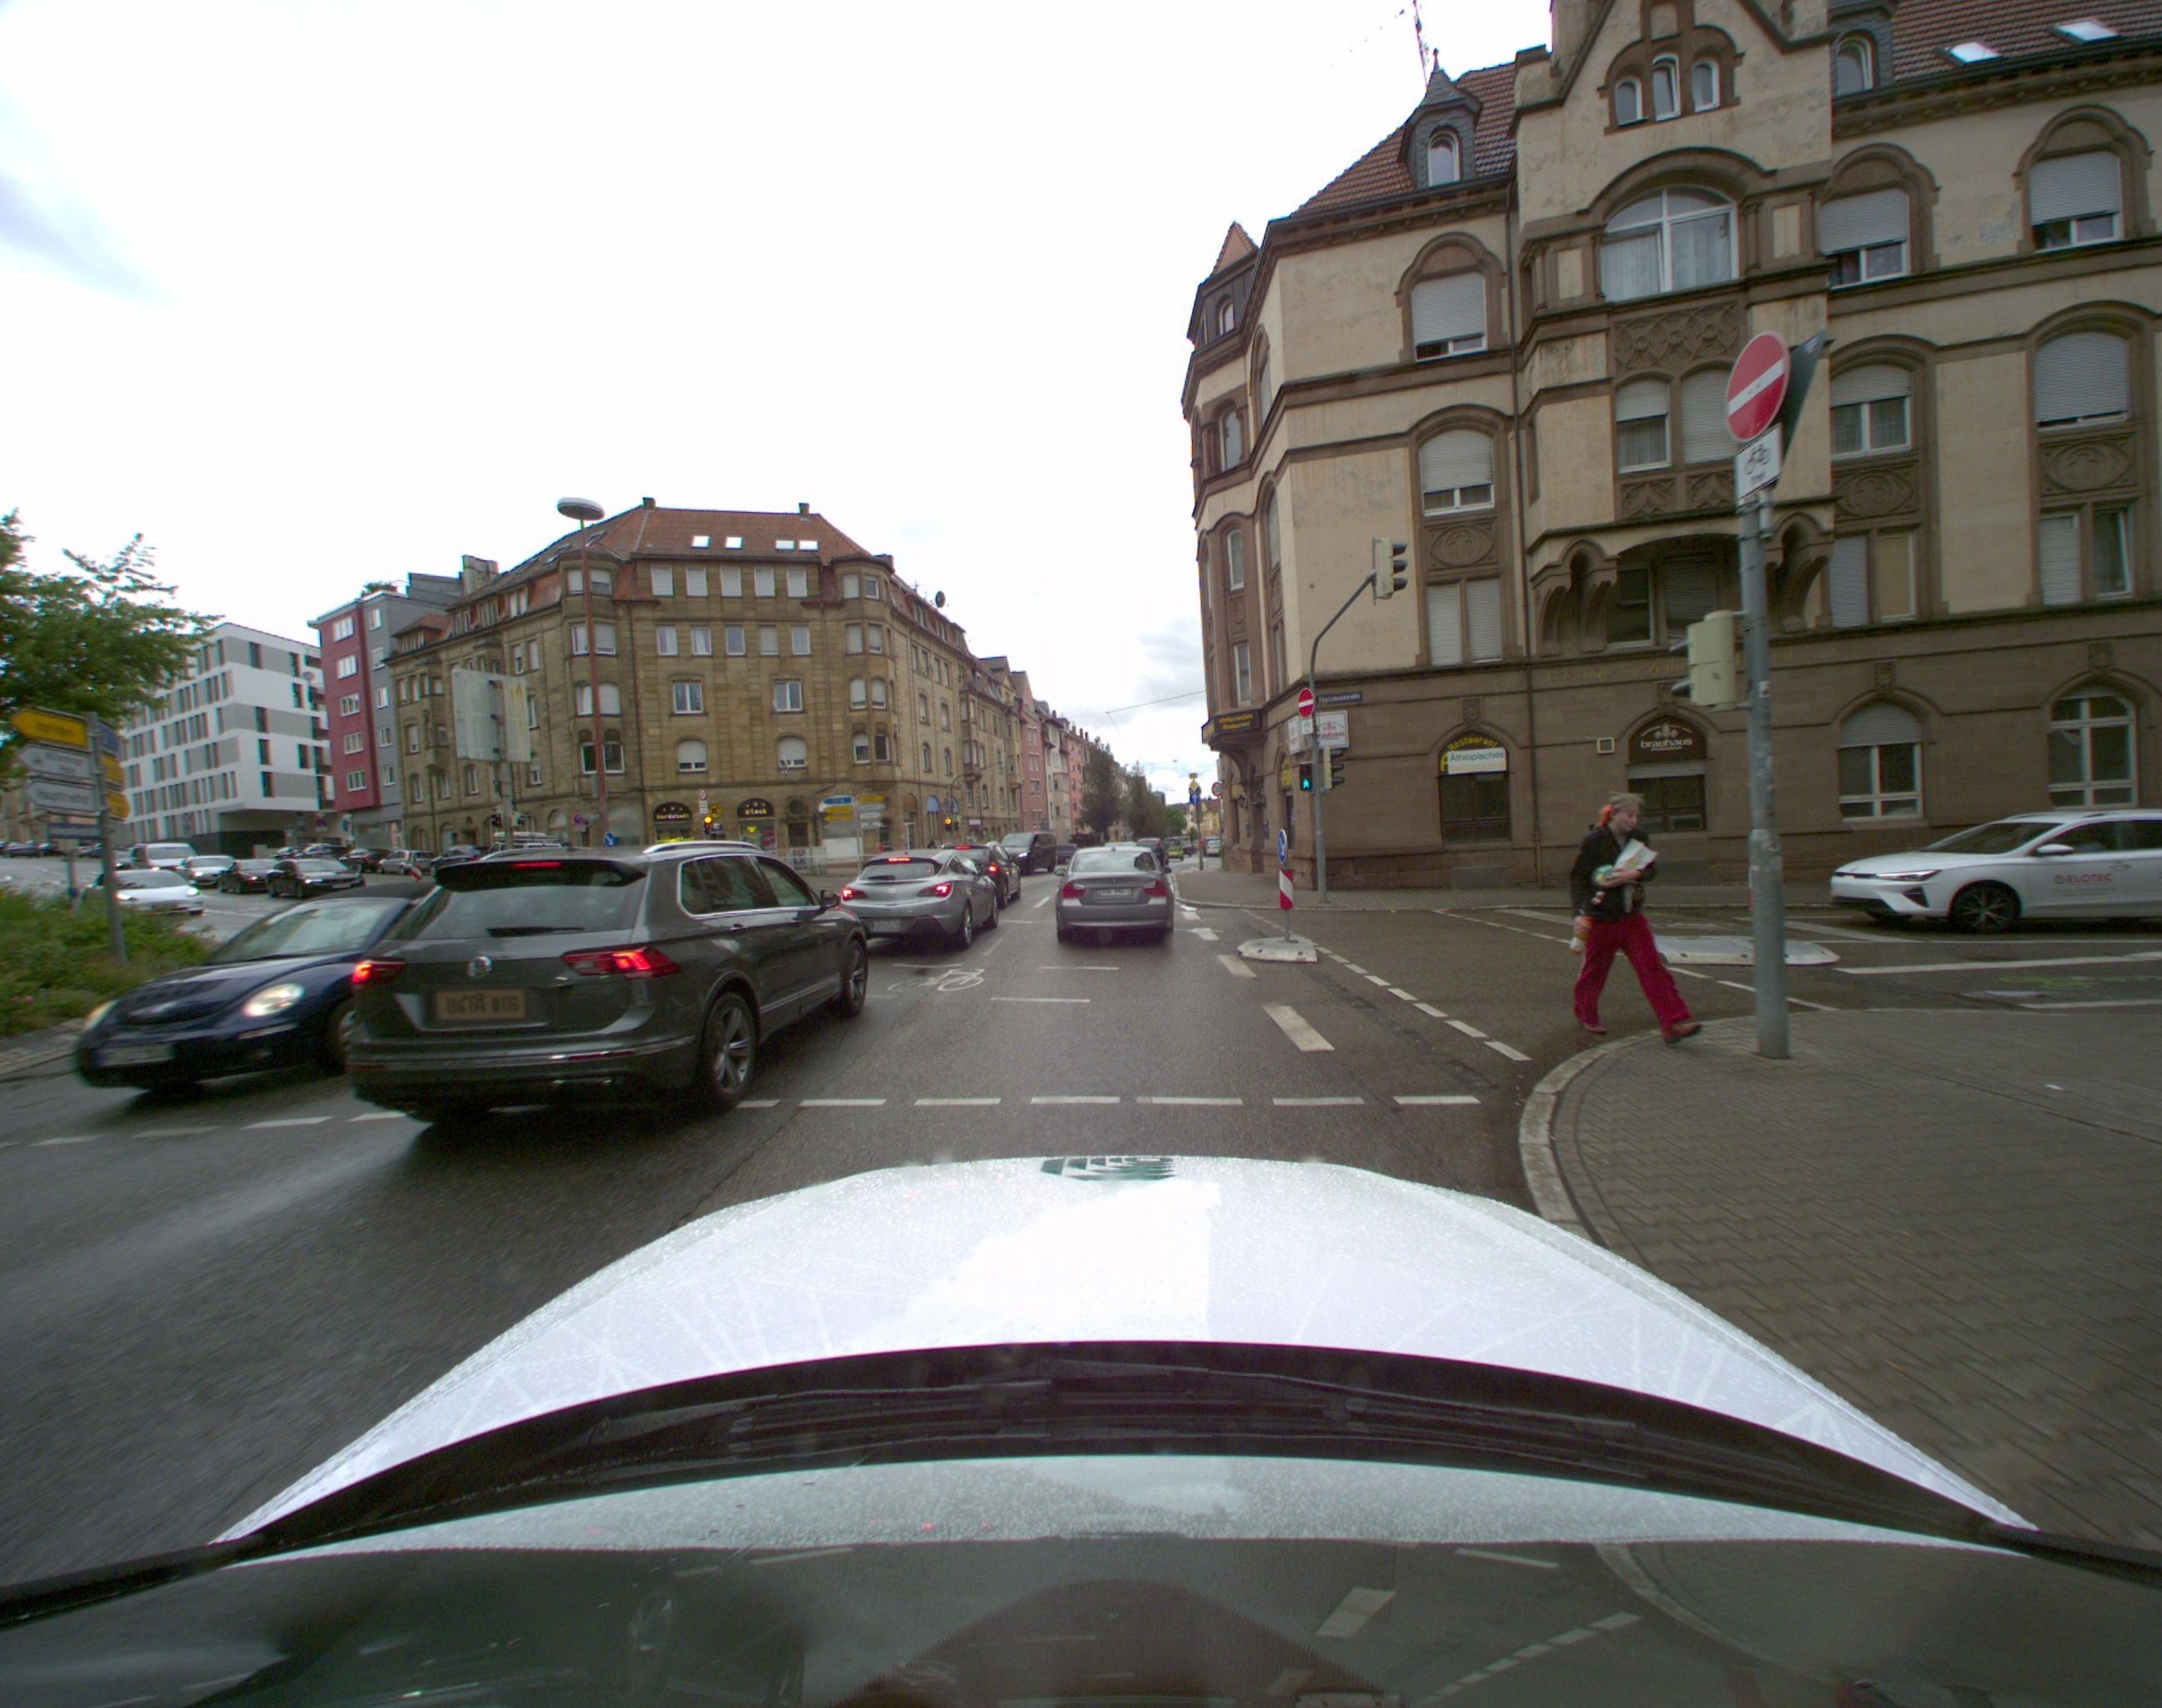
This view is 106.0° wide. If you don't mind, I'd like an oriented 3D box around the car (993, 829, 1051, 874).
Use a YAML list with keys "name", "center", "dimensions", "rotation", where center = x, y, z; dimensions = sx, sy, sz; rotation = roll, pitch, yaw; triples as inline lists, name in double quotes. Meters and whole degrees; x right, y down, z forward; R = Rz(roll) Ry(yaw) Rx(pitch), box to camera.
- name: "car"
  center: [-2.588, -0.117, 36.654]
  dimensions: [1.733, 1.846, 4.155]
  rotation: [-3, 0, 7]

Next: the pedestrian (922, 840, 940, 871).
- name: "pedestrian"
  center: [-8.302, 0.064, 45.037]
  dimensions: [0.829, 1.702, 0.634]
  rotation: [-1, 0, -21]

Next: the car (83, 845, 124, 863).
- name: "car"
  center: [-94.961, 0.020, 79.124]
  dimensions: [4.162, 1.704, 1.708]
  rotation: [-1, 0, 28]

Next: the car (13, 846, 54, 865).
- name: "car"
  center: [-100.628, 0.155, 78.232]
  dimensions: [4.162, 1.704, 1.708]
  rotation: [-1, 0, 28]

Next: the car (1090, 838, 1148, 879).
- name: "car"
  center: [1.500, 0.168, 30.976]
  dimensions: [1.671, 1.428, 3.752]
  rotation: [-2, 0, 10]

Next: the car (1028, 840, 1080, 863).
- name: "car"
  center: [-2.422, -0.220, 74.020]
  dimensions: [4.660, 1.938, 1.863]
  rotation: [-1, 1, -1]

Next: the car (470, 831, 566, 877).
- name: "car"
  center: [-28.622, 0.017, 41.409]
  dimensions: [4.743, 2.168, 2.012]
  rotation: [-1, 0, 28]

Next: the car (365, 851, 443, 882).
- name: "car"
  center: [-39.200, 0.734, 47.172]
  dimensions: [4.162, 1.704, 2.012]
  rotation: [-1, 0, 28]

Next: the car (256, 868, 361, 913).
- name: "car"
  center: [-29.021, 1.320, 30.573]
  dimensions: [3.972, 1.491, 1.778]
  rotation: [-1, 2, 31]

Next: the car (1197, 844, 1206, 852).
- name: "car"
  center: [25.654, -1.241, 172.903]
  dimensions: [1.867, 1.731, 4.689]
  rotation: [-1, 0, 9]

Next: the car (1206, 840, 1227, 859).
- name: "car"
  center: [12.190, -0.397, 73.464]
  dimensions: [1.789, 1.564, 4.503]
  rotation: [-2, 0, 8]

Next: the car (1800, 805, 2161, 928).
- name: "car"
  center: [12.934, 0.142, 10.971]
  dimensions: [4.525, 1.509, 1.850]
  rotation: [-1, 1, 15]

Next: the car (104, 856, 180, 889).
- name: "car"
  center: [-46.479, 0.909, 40.290]
  dimensions: [4.101, 1.538, 1.749]
  rotation: [-2, -1, 31]

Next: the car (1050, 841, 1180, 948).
- name: "car"
  center: [0.494, 0.537, 13.058]
  dimensions: [1.763, 1.428, 3.741]
  rotation: [-1, 0, 1]

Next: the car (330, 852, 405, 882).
- name: "car"
  center: [-43.530, 0.791, 49.680]
  dimensions: [4.162, 1.704, 2.012]
  rotation: [-1, 0, 28]

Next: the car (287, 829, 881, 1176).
- name: "car"
  center: [-2.943, 0.667, 6.095]
  dimensions: [1.746, 1.644, 4.213]
  rotation: [-2, 2, 1]

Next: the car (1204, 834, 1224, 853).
- name: "car"
  center: [12.857, -0.964, 78.806]
  dimensions: [1.867, 1.731, 4.689]
  rotation: [-2, 0, 9]

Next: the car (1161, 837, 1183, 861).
- name: "car"
  center: [6.137, -0.334, 55.150]
  dimensions: [1.442, 1.565, 3.338]
  rotation: [-2, 0, 6]

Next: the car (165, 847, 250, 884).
- name: "car"
  center: [-40.138, 0.527, 37.409]
  dimensions: [4.247, 1.537, 1.750]
  rotation: [-1, 2, 31]

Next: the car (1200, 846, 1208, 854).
- name: "car"
  center: [29.078, -0.896, 192.805]
  dimensions: [1.867, 1.731, 4.452]
  rotation: [-1, 0, 9]

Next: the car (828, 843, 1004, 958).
- name: "car"
  center: [-2.425, 0.600, 13.090]
  dimensions: [1.745, 1.483, 4.184]
  rotation: [-2, 1, 3]

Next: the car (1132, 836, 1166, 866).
- name: "car"
  center: [3.692, -0.138, 43.999]
  dimensions: [1.689, 1.483, 3.799]
  rotation: [-2, 0, 6]

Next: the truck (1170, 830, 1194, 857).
- name: "truck"
  center: [9.652, -0.940, 77.512]
  dimensions: [2.020, 2.412, 4.838]
  rotation: [-2, 0, 9]

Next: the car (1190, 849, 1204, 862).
- name: "car"
  center: [15.574, 0.219, 109.565]
  dimensions: [1.767, 1.798, 4.010]
  rotation: [0, -1, 9]

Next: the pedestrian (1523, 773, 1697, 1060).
- name: "pedestrian"
  center: [3.903, 0.417, 6.102]
  dimensions: [0.694, 1.949, 1.093]
  rotation: [-1, 2, 8]

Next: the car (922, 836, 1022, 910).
- name: "car"
  center: [-2.486, 0.418, 19.588]
  dimensions: [1.746, 1.535, 4.215]
  rotation: [-2, 0, 1]

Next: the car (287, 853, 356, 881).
- name: "car"
  center: [-49.154, 0.873, 52.708]
  dimensions: [4.162, 1.704, 2.012]
  rotation: [-1, 0, 28]

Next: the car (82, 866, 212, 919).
- name: "car"
  center: [-29.455, 1.158, 25.658]
  dimensions: [4.337, 1.491, 1.926]
  rotation: [-1, 1, 31]

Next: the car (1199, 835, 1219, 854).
- name: "car"
  center: [13.379, -0.960, 84.969]
  dimensions: [1.908, 1.827, 5.022]
  rotation: [-4, 0, 9]

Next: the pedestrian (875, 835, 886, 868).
- name: "pedestrian"
  center: [-10.944, -0.119, 44.524]
  dimensions: [0.523, 1.774, 0.690]
  rotation: [-1, 0, -15]

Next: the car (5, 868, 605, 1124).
- name: "car"
  center: [-6.550, 1.037, 7.562]
  dimensions: [1.706, 1.496, 3.688]
  rotation: [-7, 1, 5]

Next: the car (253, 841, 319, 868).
- name: "car"
  center: [-53.980, 0.012, 55.269]
  dimensions: [4.162, 1.704, 2.012]
  rotation: [-1, 0, 28]

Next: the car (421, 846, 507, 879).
- name: "car"
  center: [-33.041, 0.458, 43.588]
  dimensions: [4.326, 1.704, 2.012]
  rotation: [-1, 0, 28]
